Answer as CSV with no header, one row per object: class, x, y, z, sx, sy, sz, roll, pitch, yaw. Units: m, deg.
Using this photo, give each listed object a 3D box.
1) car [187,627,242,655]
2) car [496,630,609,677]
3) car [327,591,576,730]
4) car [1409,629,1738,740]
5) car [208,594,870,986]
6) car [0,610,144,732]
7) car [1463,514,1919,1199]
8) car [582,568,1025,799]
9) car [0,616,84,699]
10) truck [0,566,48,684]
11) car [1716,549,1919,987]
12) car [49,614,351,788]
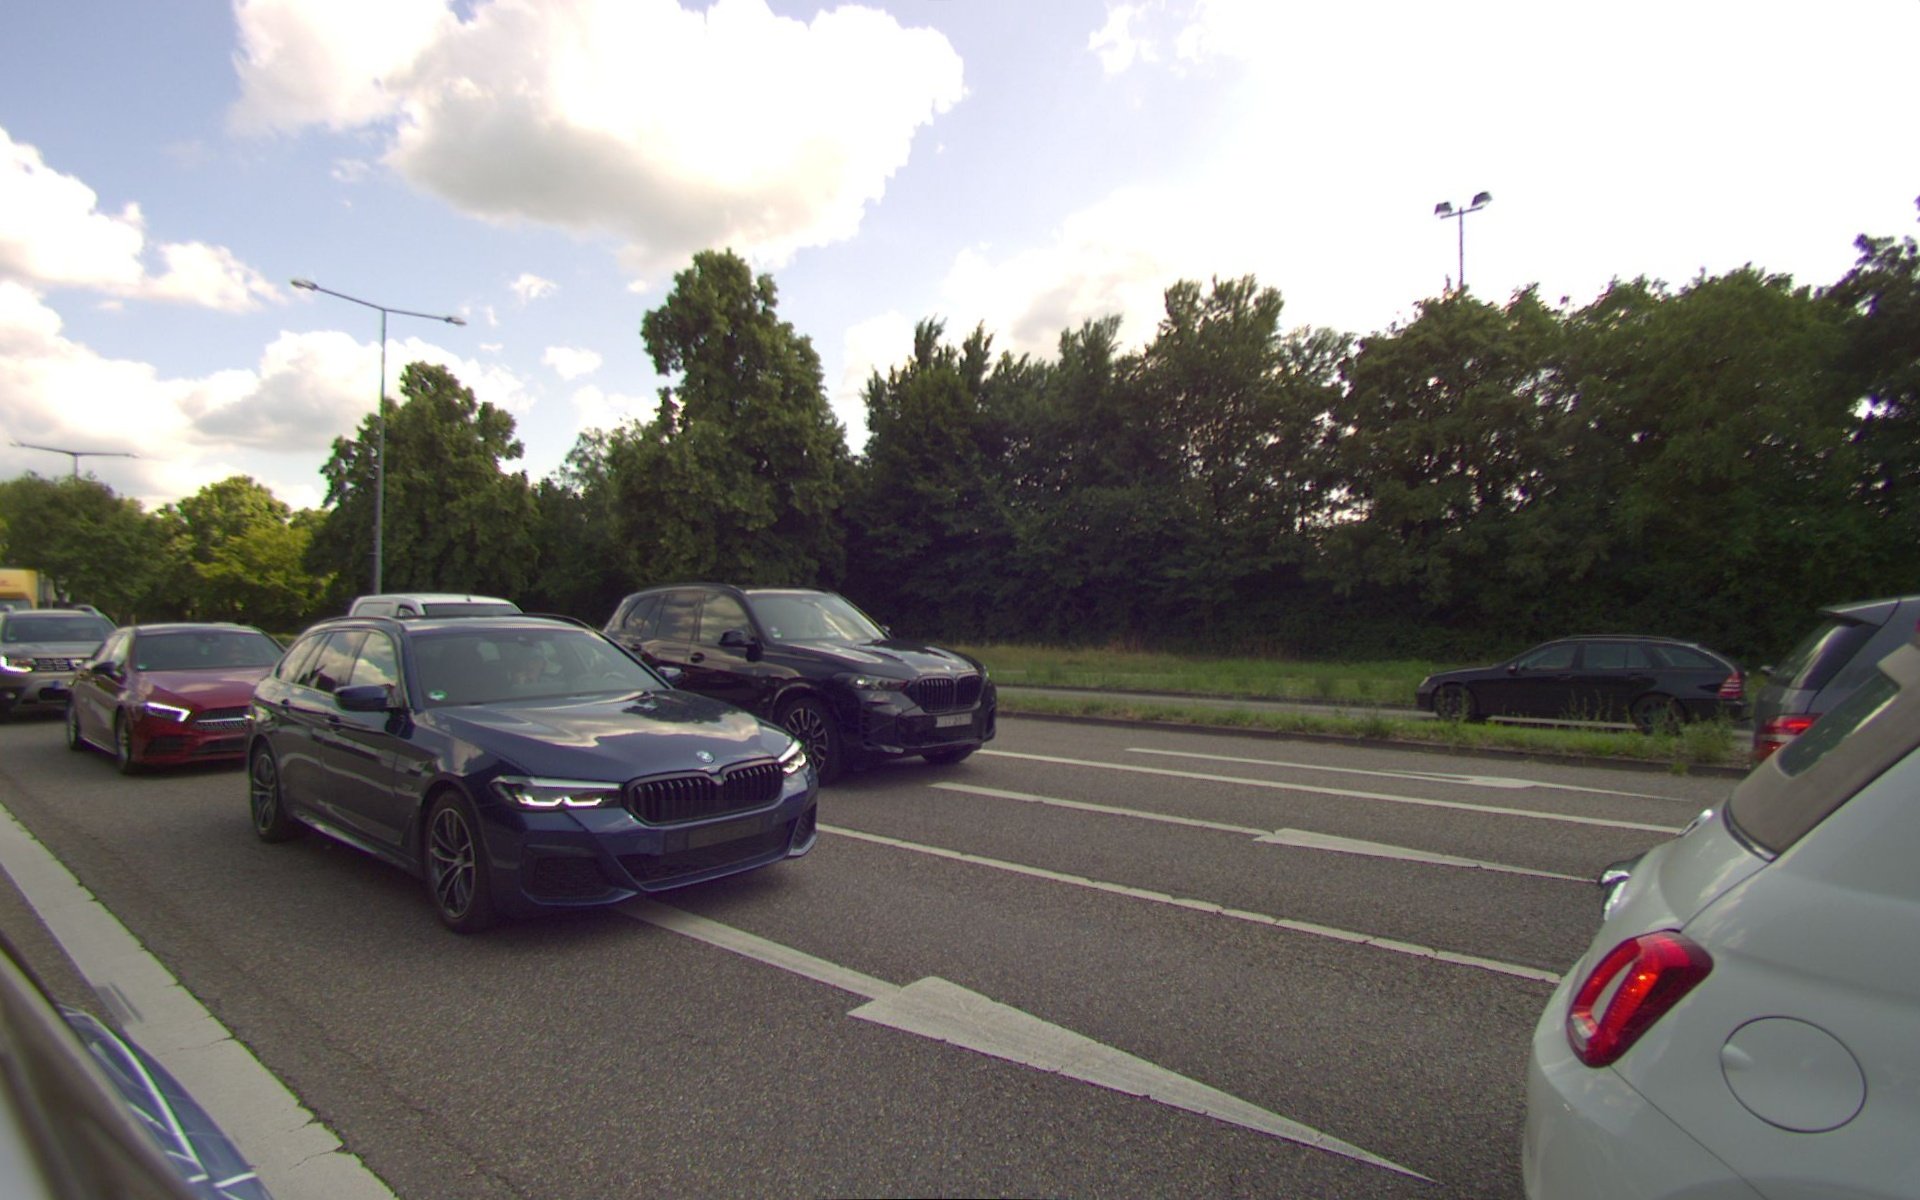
car,-41.535,2.269,56.365,3.998,1.397,1.650,-1,0,41
car,-13.222,1.685,32.709,4.236,1.435,1.650,-2,-3,41
car,-7.846,0.819,15.400,4.728,1.812,1.747,-1,-1,41
car,9.393,1.207,15.701,4.203,1.469,1.511,-1,-2,40
car,-2.883,0.752,6.193,4.871,1.508,1.778,-1,0,41
car,-13.924,0.968,15.367,4.174,1.624,1.705,-1,-1,41
car,2.629,0.629,1.004,3.538,1.508,1.553,-1,0,41
car,-1.707,0.666,9.894,4.547,1.759,1.794,-1,-1,41
car,-19.331,1.106,20.629,3.892,1.542,1.705,-1,0,41
truck,-26.286,0.677,26.815,6.963,2.881,2.333,-1,-1,41
car,5.307,0.617,3.373,4.358,1.631,1.681,-1,-1,41
car,-8.325,0.918,10.916,4.533,1.473,1.705,-1,0,41
